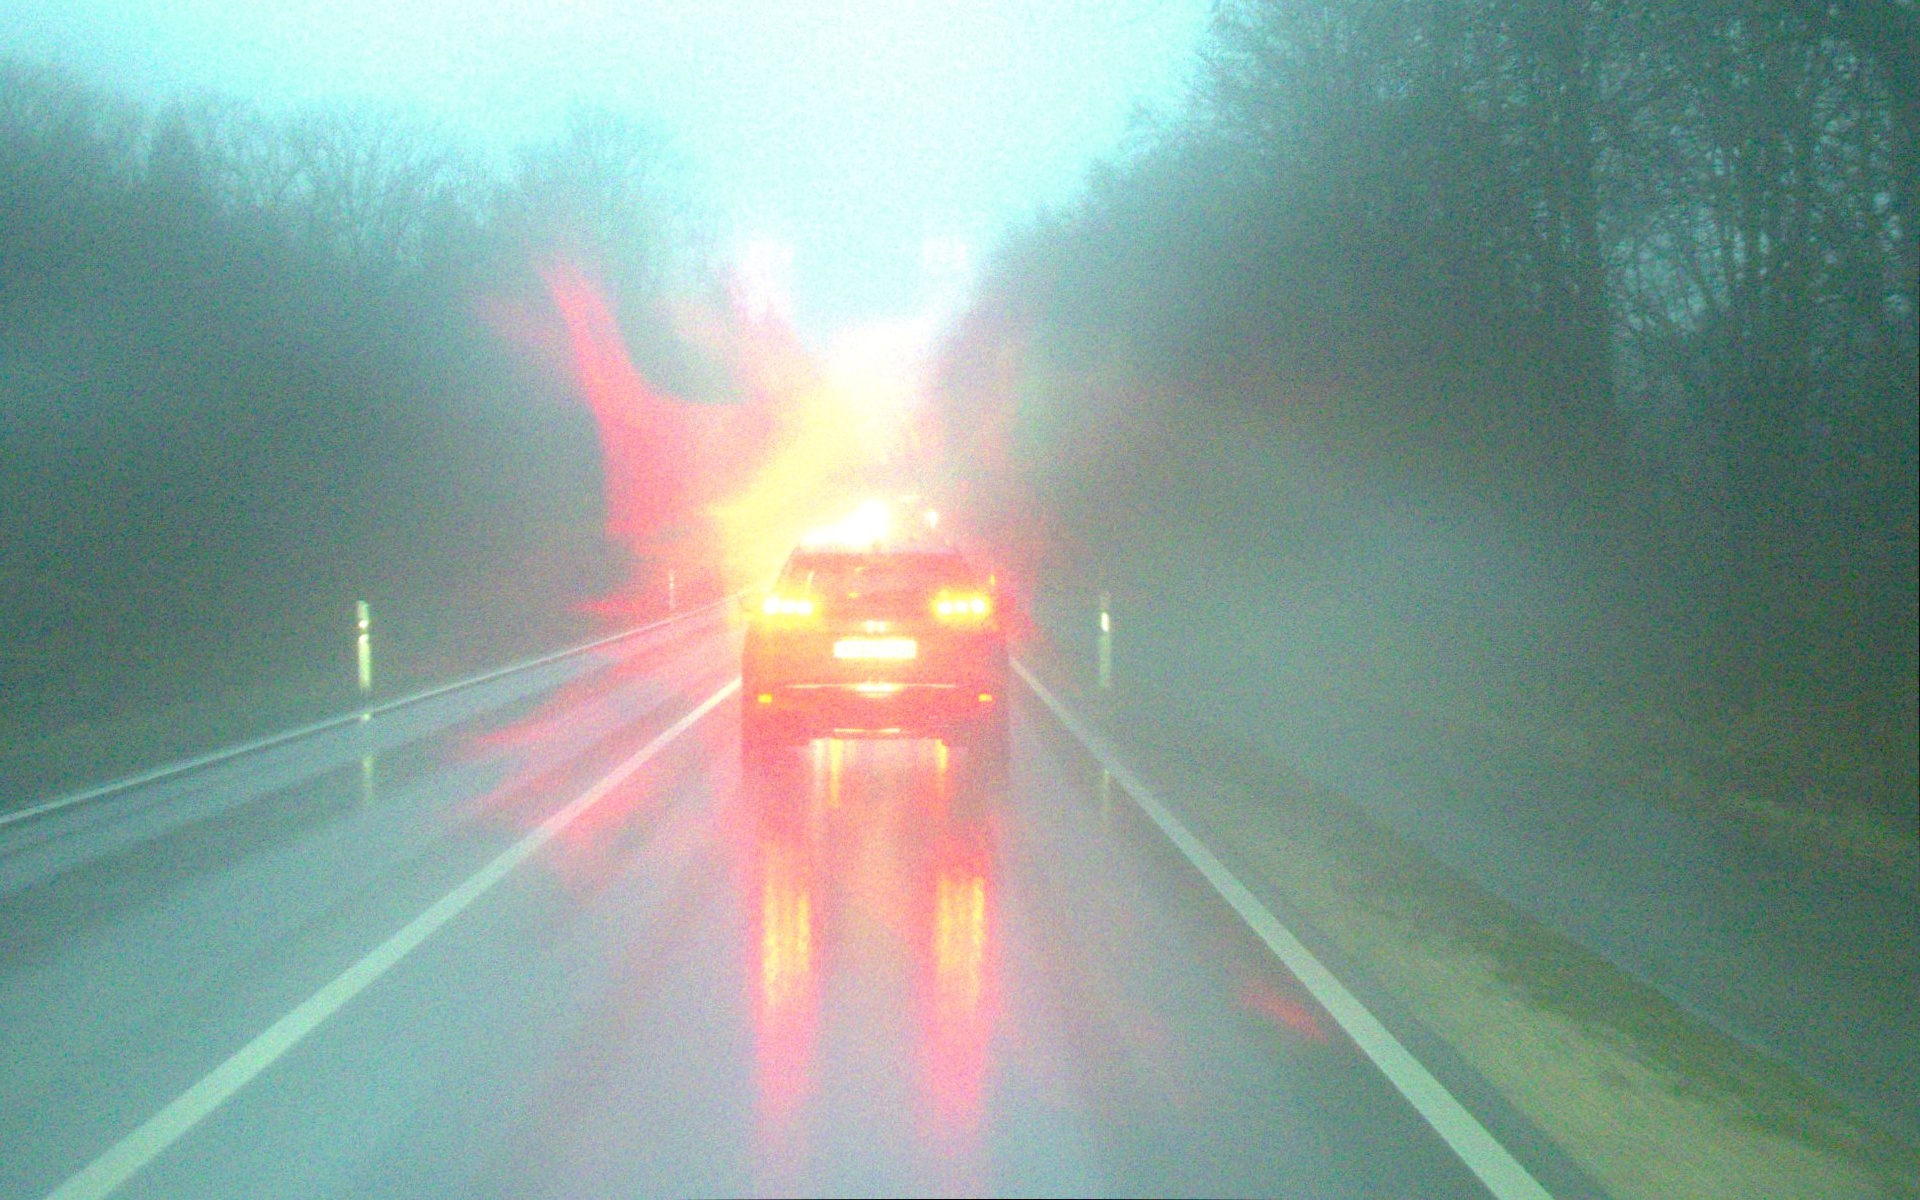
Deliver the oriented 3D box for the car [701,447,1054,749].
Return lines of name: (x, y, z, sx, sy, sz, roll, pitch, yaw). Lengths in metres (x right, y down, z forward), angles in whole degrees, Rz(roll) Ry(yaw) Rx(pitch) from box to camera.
car: (-0.573, -0.074, 24.092, 2.198, 1.871, 4.828, 1, 1, -1)
